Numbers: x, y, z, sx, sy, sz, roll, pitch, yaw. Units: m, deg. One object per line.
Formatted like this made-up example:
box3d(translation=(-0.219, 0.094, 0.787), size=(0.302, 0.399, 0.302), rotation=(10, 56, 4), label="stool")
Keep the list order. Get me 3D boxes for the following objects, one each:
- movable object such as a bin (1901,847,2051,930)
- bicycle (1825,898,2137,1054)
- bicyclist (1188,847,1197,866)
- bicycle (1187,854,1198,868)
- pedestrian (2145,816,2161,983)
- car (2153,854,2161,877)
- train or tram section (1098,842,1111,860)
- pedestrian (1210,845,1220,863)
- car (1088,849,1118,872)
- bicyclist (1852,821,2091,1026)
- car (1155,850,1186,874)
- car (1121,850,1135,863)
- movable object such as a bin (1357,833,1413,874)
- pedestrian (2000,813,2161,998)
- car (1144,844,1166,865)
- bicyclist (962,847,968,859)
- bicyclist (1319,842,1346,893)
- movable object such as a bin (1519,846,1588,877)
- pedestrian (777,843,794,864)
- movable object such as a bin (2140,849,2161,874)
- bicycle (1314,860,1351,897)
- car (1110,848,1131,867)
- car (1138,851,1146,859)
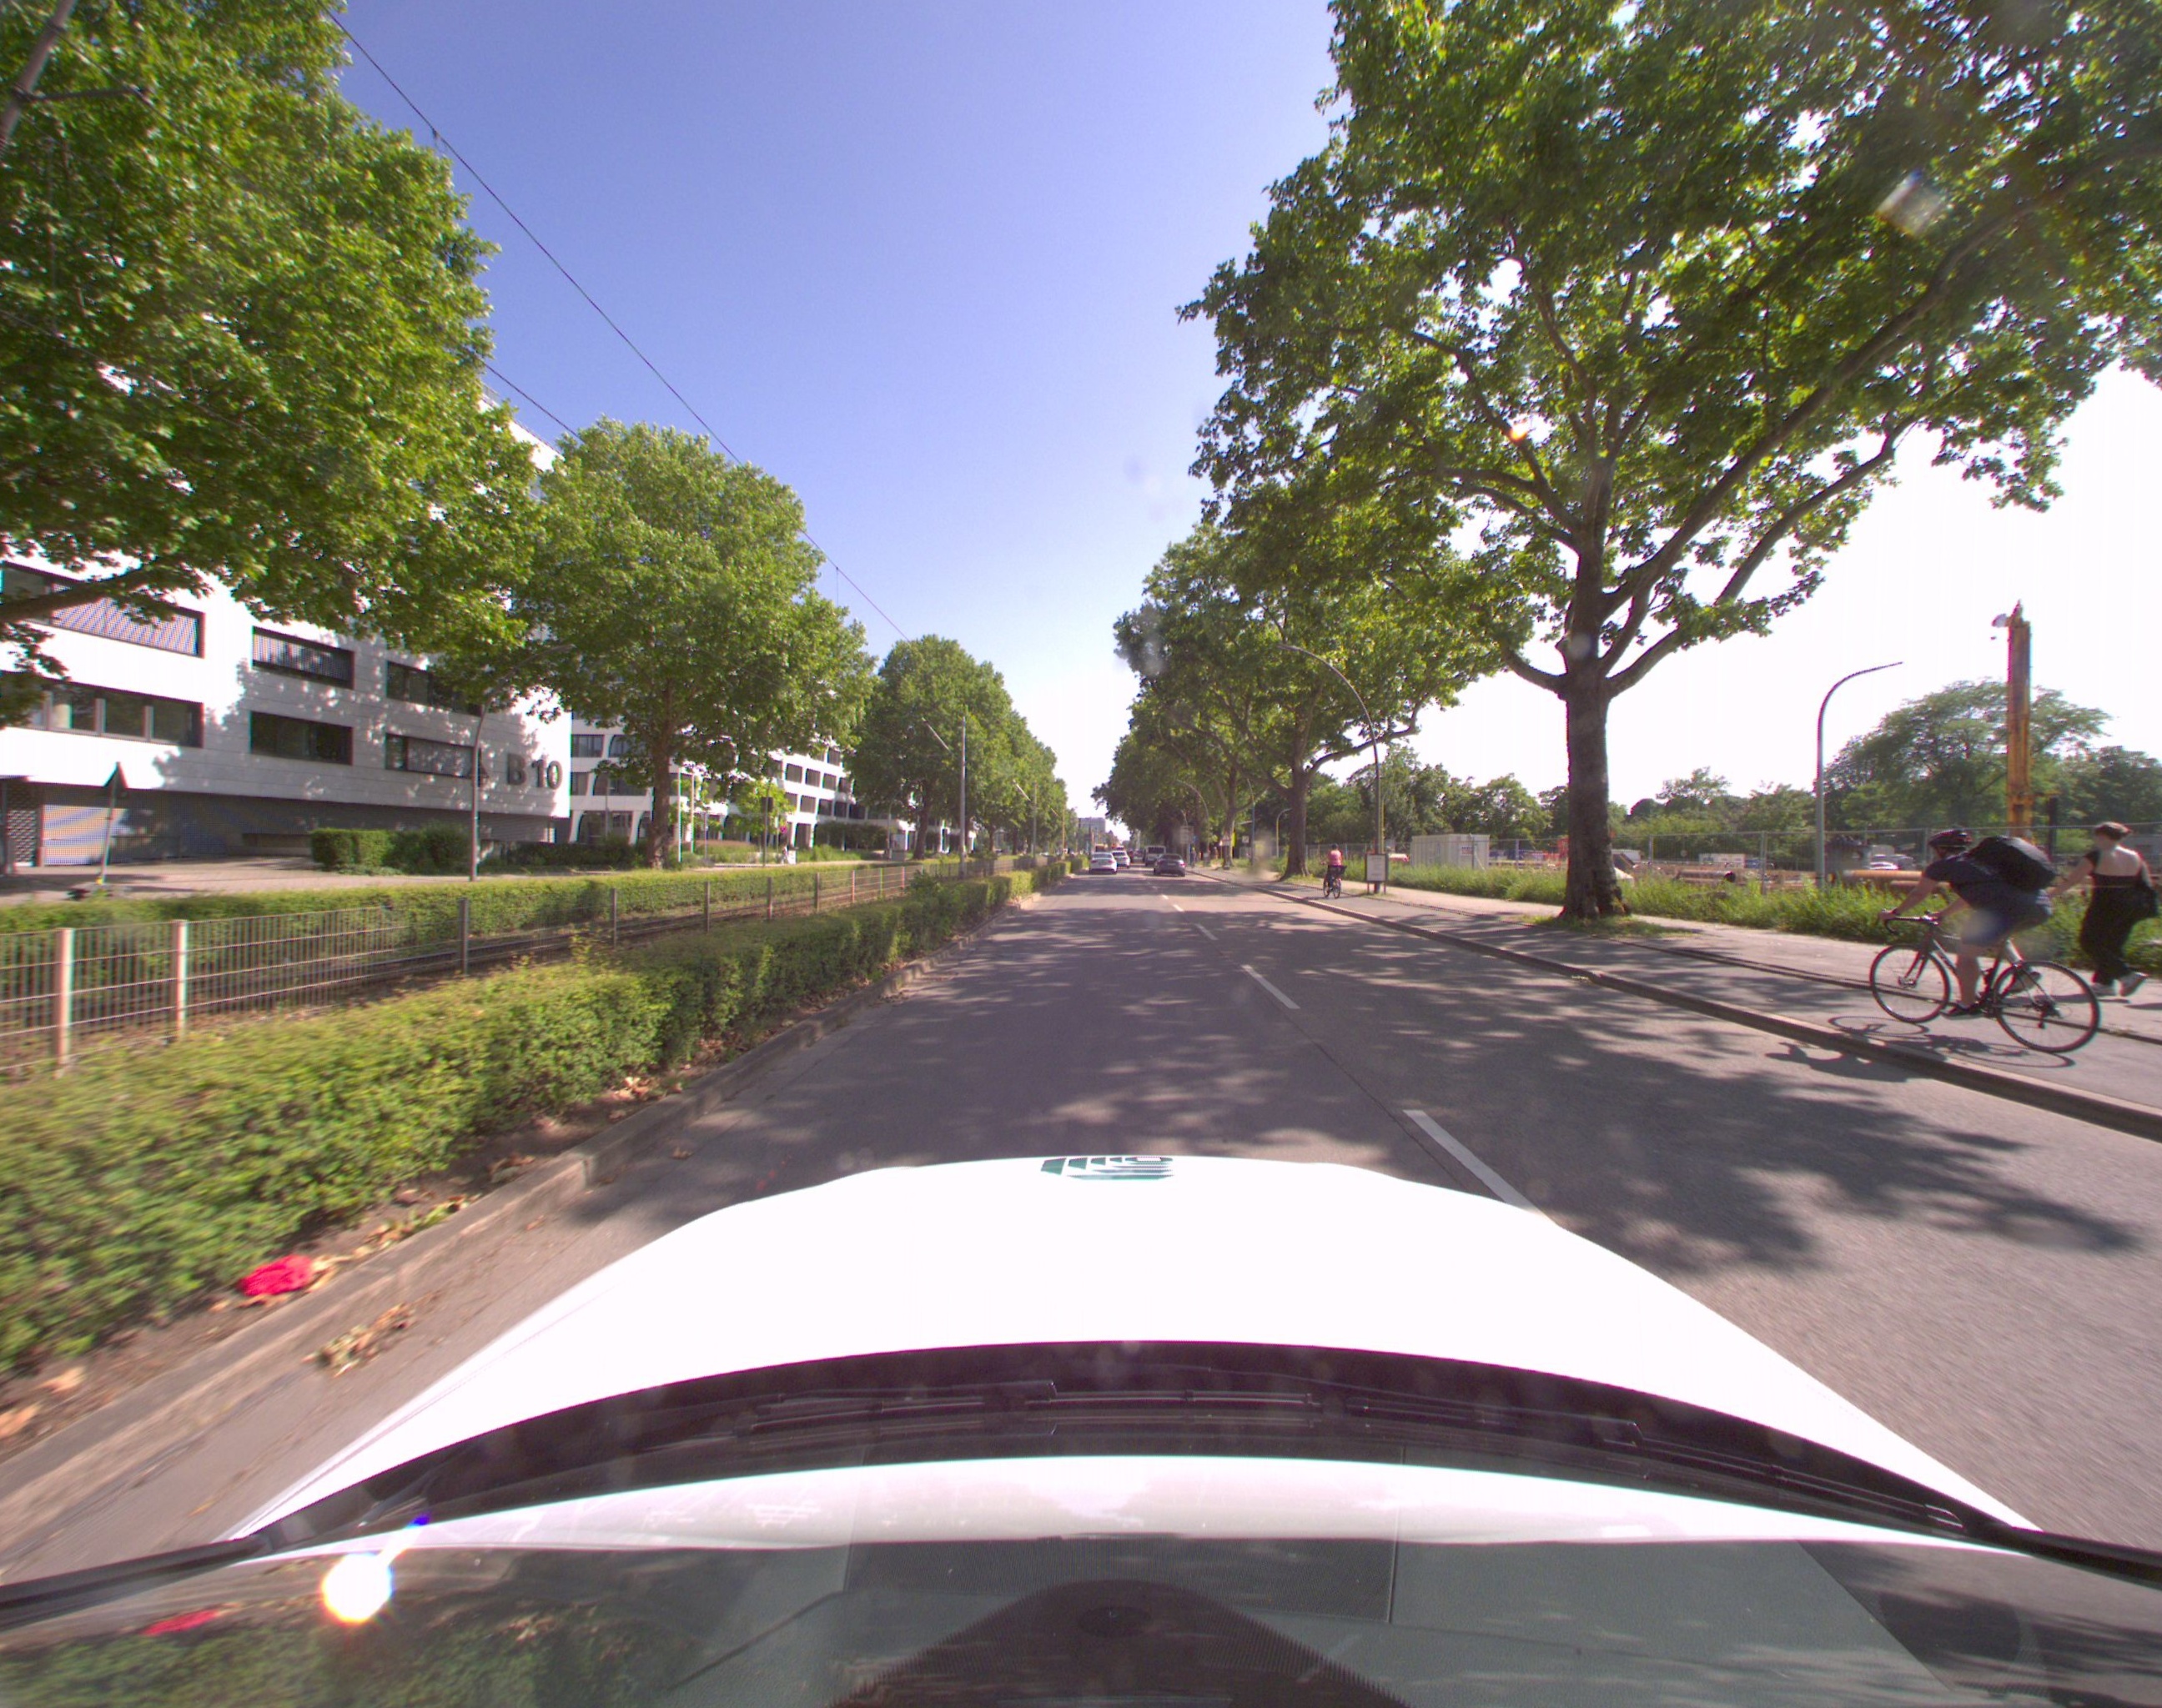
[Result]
box3d(translation=(63.221, 2.226, 58.028), size=(11.842, 5.176, 6.674), rotation=(1, 0, -44), label="movable object such as a bin")
box3d(translation=(7.183, 0.915, 6.656), size=(0.595, 0.980, 1.782), rotation=(-2, 0, 2), label="bicycle")
box3d(translation=(9.956, 0.215, 72.782), size=(0.632, 1.648, 0.980), rotation=(-2, 1, 3), label="bicyclist")
box3d(translation=(9.965, 0.652, 72.794), size=(0.711, 1.148, 2.180), rotation=(-2, 2, 3), label="bicycle")
box3d(translation=(11.228, 0.463, 7.851), size=(0.693, 1.683, 0.959), rotation=(1, 0, 2), label="pedestrian")
box3d(translation=(82.327, 0.857, 59.731), size=(1.783, 1.772, 4.441), rotation=(0, 0, 5), label="car")
box3d(translation=(5.369, -0.699, 187.021), size=(2.605, 4.015, 7.758), rotation=(1, 0, 4), label="train or tram section")
box3d(translation=(14.675, 0.009, 89.088), size=(0.935, 1.892, 1.152), rotation=(1, 0, 4), label="pedestrian")
box3d(translation=(1.477, 0.418, 53.106), size=(1.777, 1.420, 3.889), rotation=(1, 0, 4), label="car")
box3d(translation=(7.163, 0.512, 6.633), size=(0.596, 1.489, 1.215), rotation=(-2, 0, 2), label="bicyclist")
box3d(translation=(5.620, 0.503, 51.550), size=(1.774, 1.420, 4.004), rotation=(1, 0, 4), label="car")
box3d(translation=(6.261, 0.299, 108.447), size=(1.722, 1.605, 3.889), rotation=(1, 0, 4), label="car")
box3d(translation=(24.502, -0.067, 65.933), size=(2.361, 3.071, 5.986), rotation=(1, 0, 1), label="movable object such as a bin")
box3d(translation=(10.144, 0.483, 8.139), size=(0.707, 1.724, 1.066), rotation=(1, 0, 2), label="pedestrian")
box3d(translation=(7.878, 0.057, 86.833), size=(2.220, 2.212, 4.166), rotation=(1, 0, 4), label="car")
box3d(translation=(-15.566, -0.151, 108.989), size=(0.651, 1.535, 0.642), rotation=(1, 0, 4), label="bicyclist")
box3d(translation=(8.003, 0.420, 25.927), size=(0.617, 1.600, 0.732), rotation=(-1, 0, 1), label="bicyclist")
box3d(translation=(47.430, 0.730, 81.888), size=(5.154, 2.975, 3.297), rotation=(1, 0, 3), label="movable object such as a bin")
box3d(translation=(-22.645, -0.057, 62.479), size=(0.715, 1.588, 1.019), rotation=(1, 0, 16), label="pedestrian")
box3d(translation=(88.417, 0.650, 65.619), size=(2.740, 2.013, 2.670), rotation=(0, 0, 2), label="movable object such as a bin")
box3d(translation=(8.017, 0.759, 26.031), size=(0.649, 1.129, 1.947), rotation=(-1, 0, 3), label="bicycle")
box3d(translation=(3.534, 0.336, 72.287), size=(1.722, 1.605, 3.889), rotation=(1, 0, 4), label="car")
box3d(translation=(15.834, 0.287, 211.962), size=(2.063, 1.999, 4.062), rotation=(1, 0, 4), label="car")
